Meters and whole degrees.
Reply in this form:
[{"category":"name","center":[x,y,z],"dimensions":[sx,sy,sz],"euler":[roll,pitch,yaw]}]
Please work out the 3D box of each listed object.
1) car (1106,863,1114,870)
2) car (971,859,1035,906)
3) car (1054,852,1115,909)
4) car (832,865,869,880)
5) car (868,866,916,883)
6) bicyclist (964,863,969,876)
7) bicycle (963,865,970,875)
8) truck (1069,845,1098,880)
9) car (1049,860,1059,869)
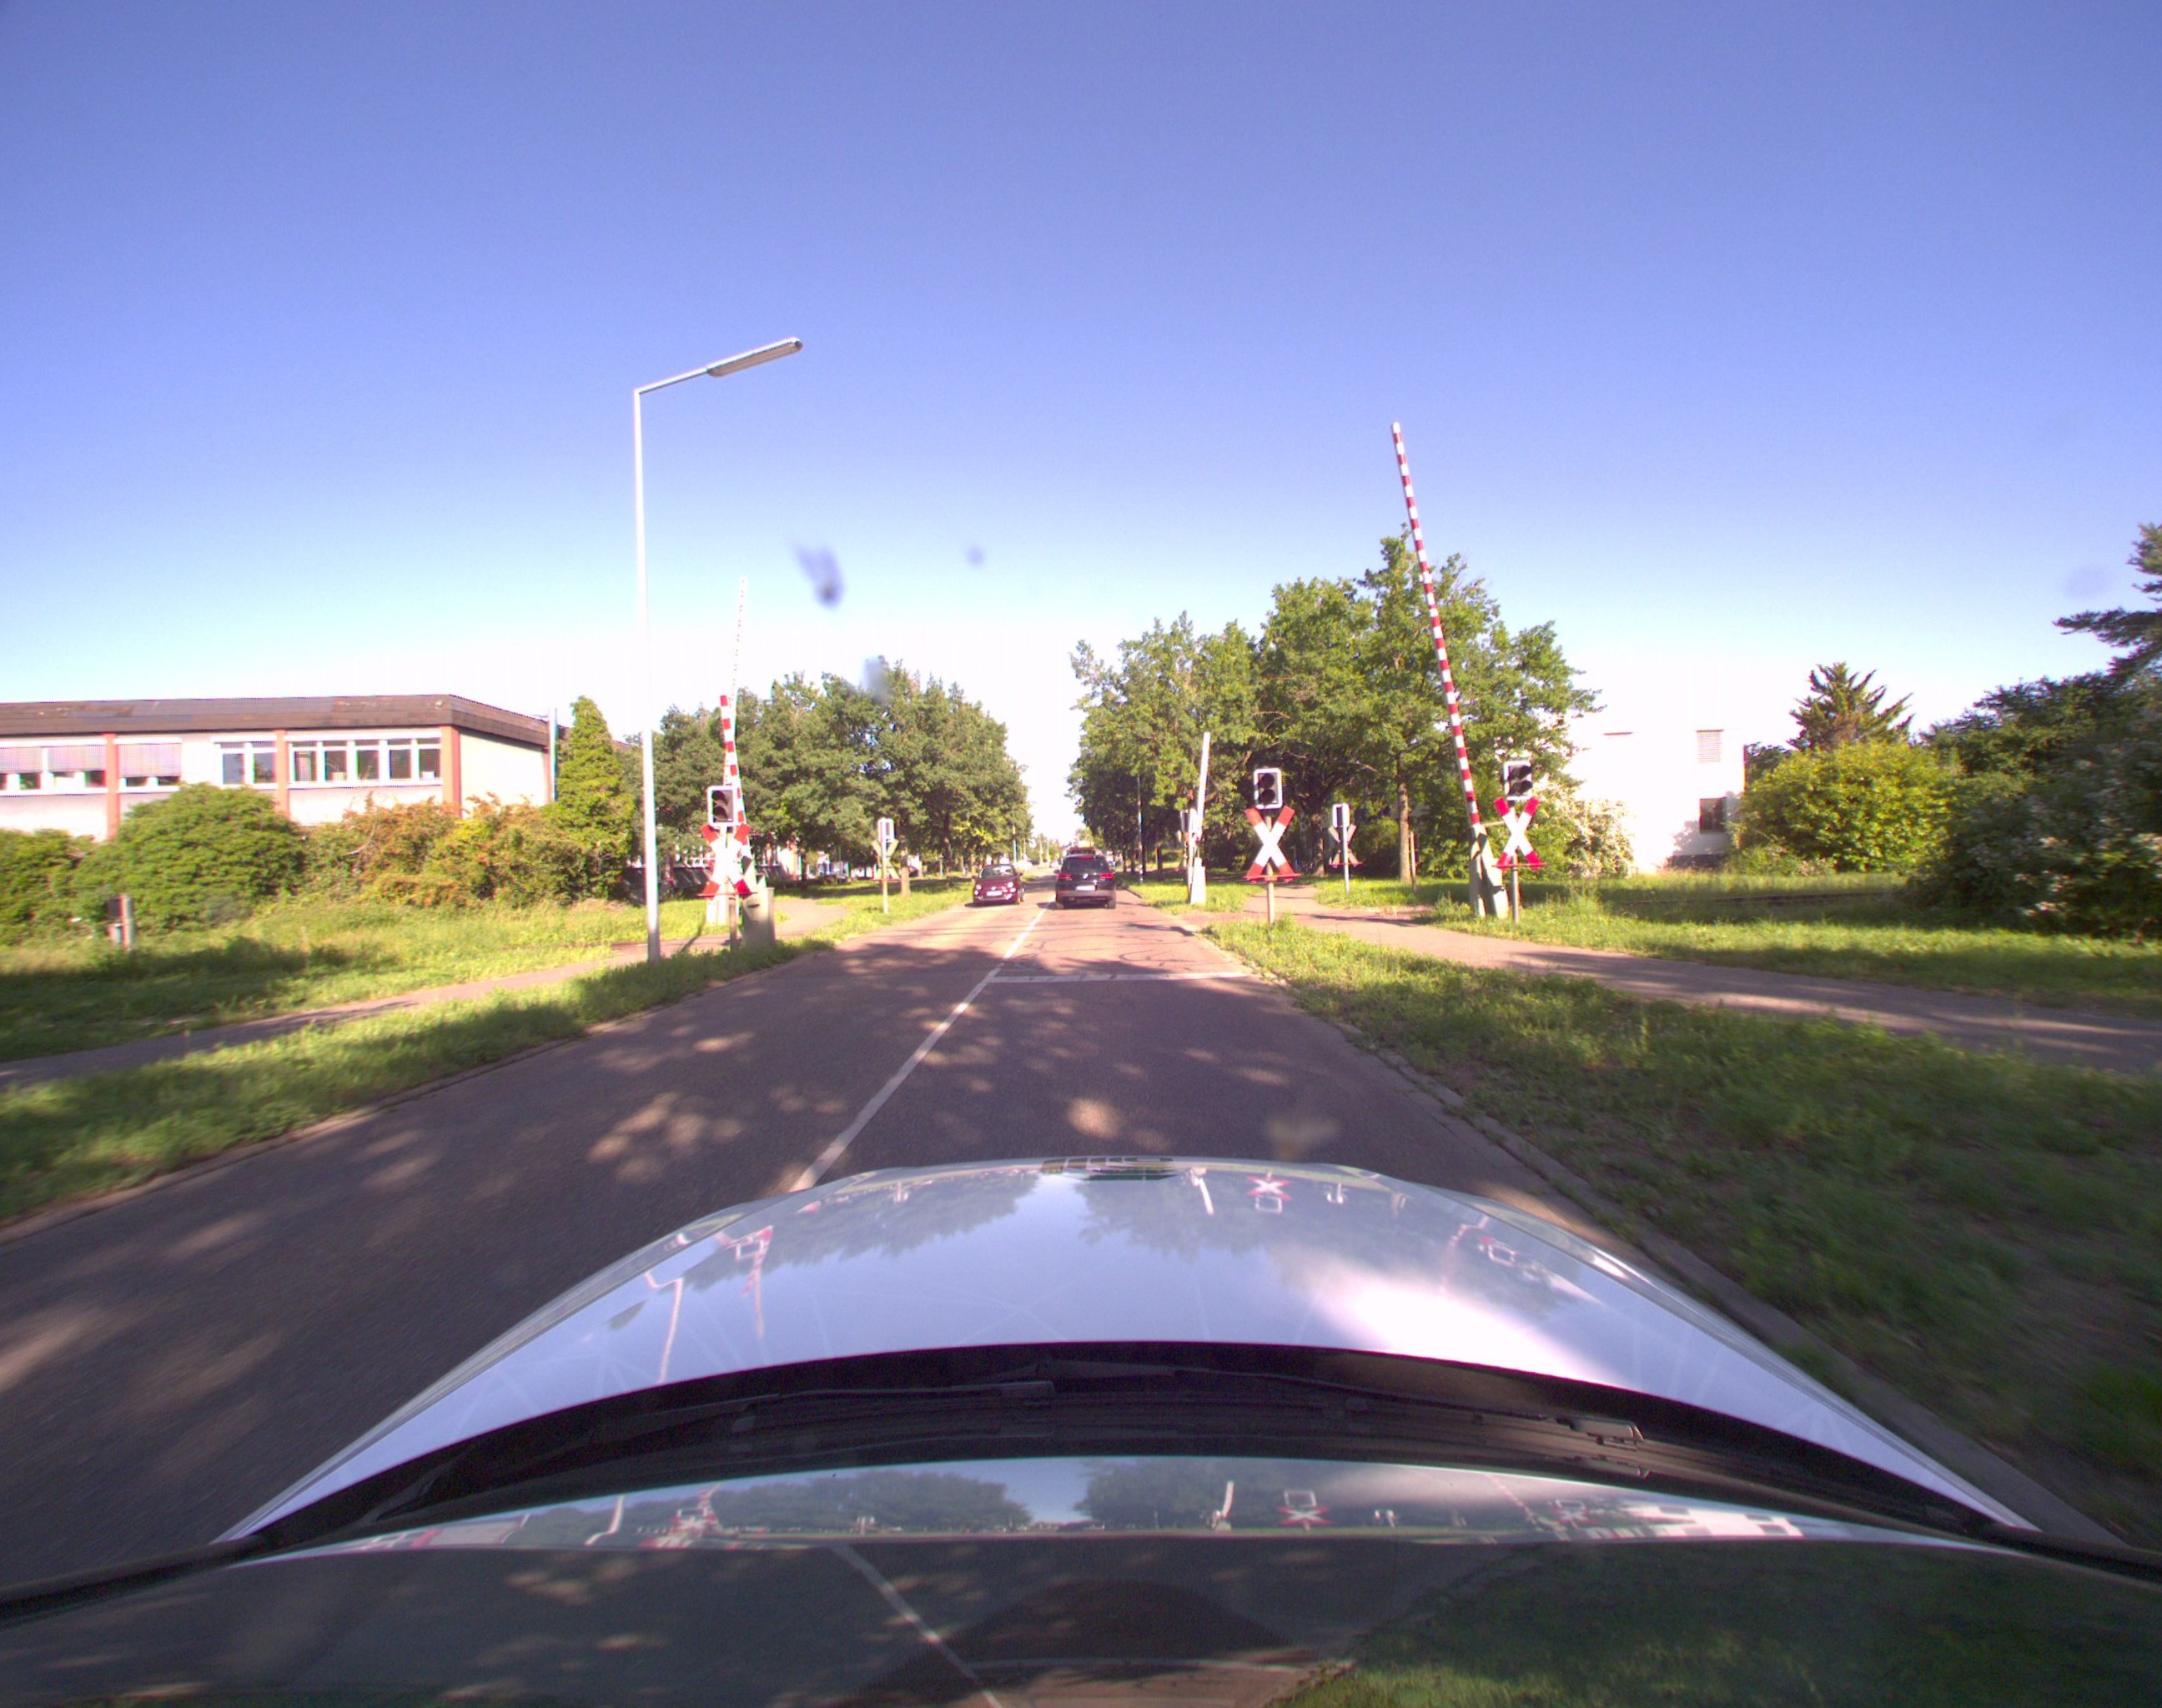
[{"category":"car","center":[5.899,2.578,165.471],"dimensions":[1.447,1.406,2.856],"euler":[0,0,1]},{"category":"car","center":[-2.787,0.987,29.855],"dimensions":[1.558,1.504,4.005],"euler":[-4,-1,4]},{"category":"car","center":[0.185,0.780,25.738],"dimensions":[1.775,1.633,4.002],"euler":[0,0,2]},{"category":"car","center":[-25.306,2.027,89.425],"dimensions":[3.343,1.642,2.003],"euler":[0,0,5]},{"category":"car","center":[-23.761,2.557,102.679],"dimensions":[5.791,2.014,1.993],"euler":[0,-1,-10]},{"category":"bicyclist","center":[-16.214,2.136,115.309],"dimensions":[0.684,1.831,0.934],"euler":[0,-1,-1]},{"category":"bicycle","center":[-16.208,2.294,115.365],"dimensions":[0.715,1.321,1.991],"euler":[0,0,-1]},{"category":"truck","center":[0.290,0.803,81.677],"dimensions":[2.502,3.244,8.156],"euler":[-2,0,2]},{"category":"car","center":[-6.045,2.331,184.471],"dimensions":[1.990,2.014,3.992],"euler":[0,0,-5]}]
